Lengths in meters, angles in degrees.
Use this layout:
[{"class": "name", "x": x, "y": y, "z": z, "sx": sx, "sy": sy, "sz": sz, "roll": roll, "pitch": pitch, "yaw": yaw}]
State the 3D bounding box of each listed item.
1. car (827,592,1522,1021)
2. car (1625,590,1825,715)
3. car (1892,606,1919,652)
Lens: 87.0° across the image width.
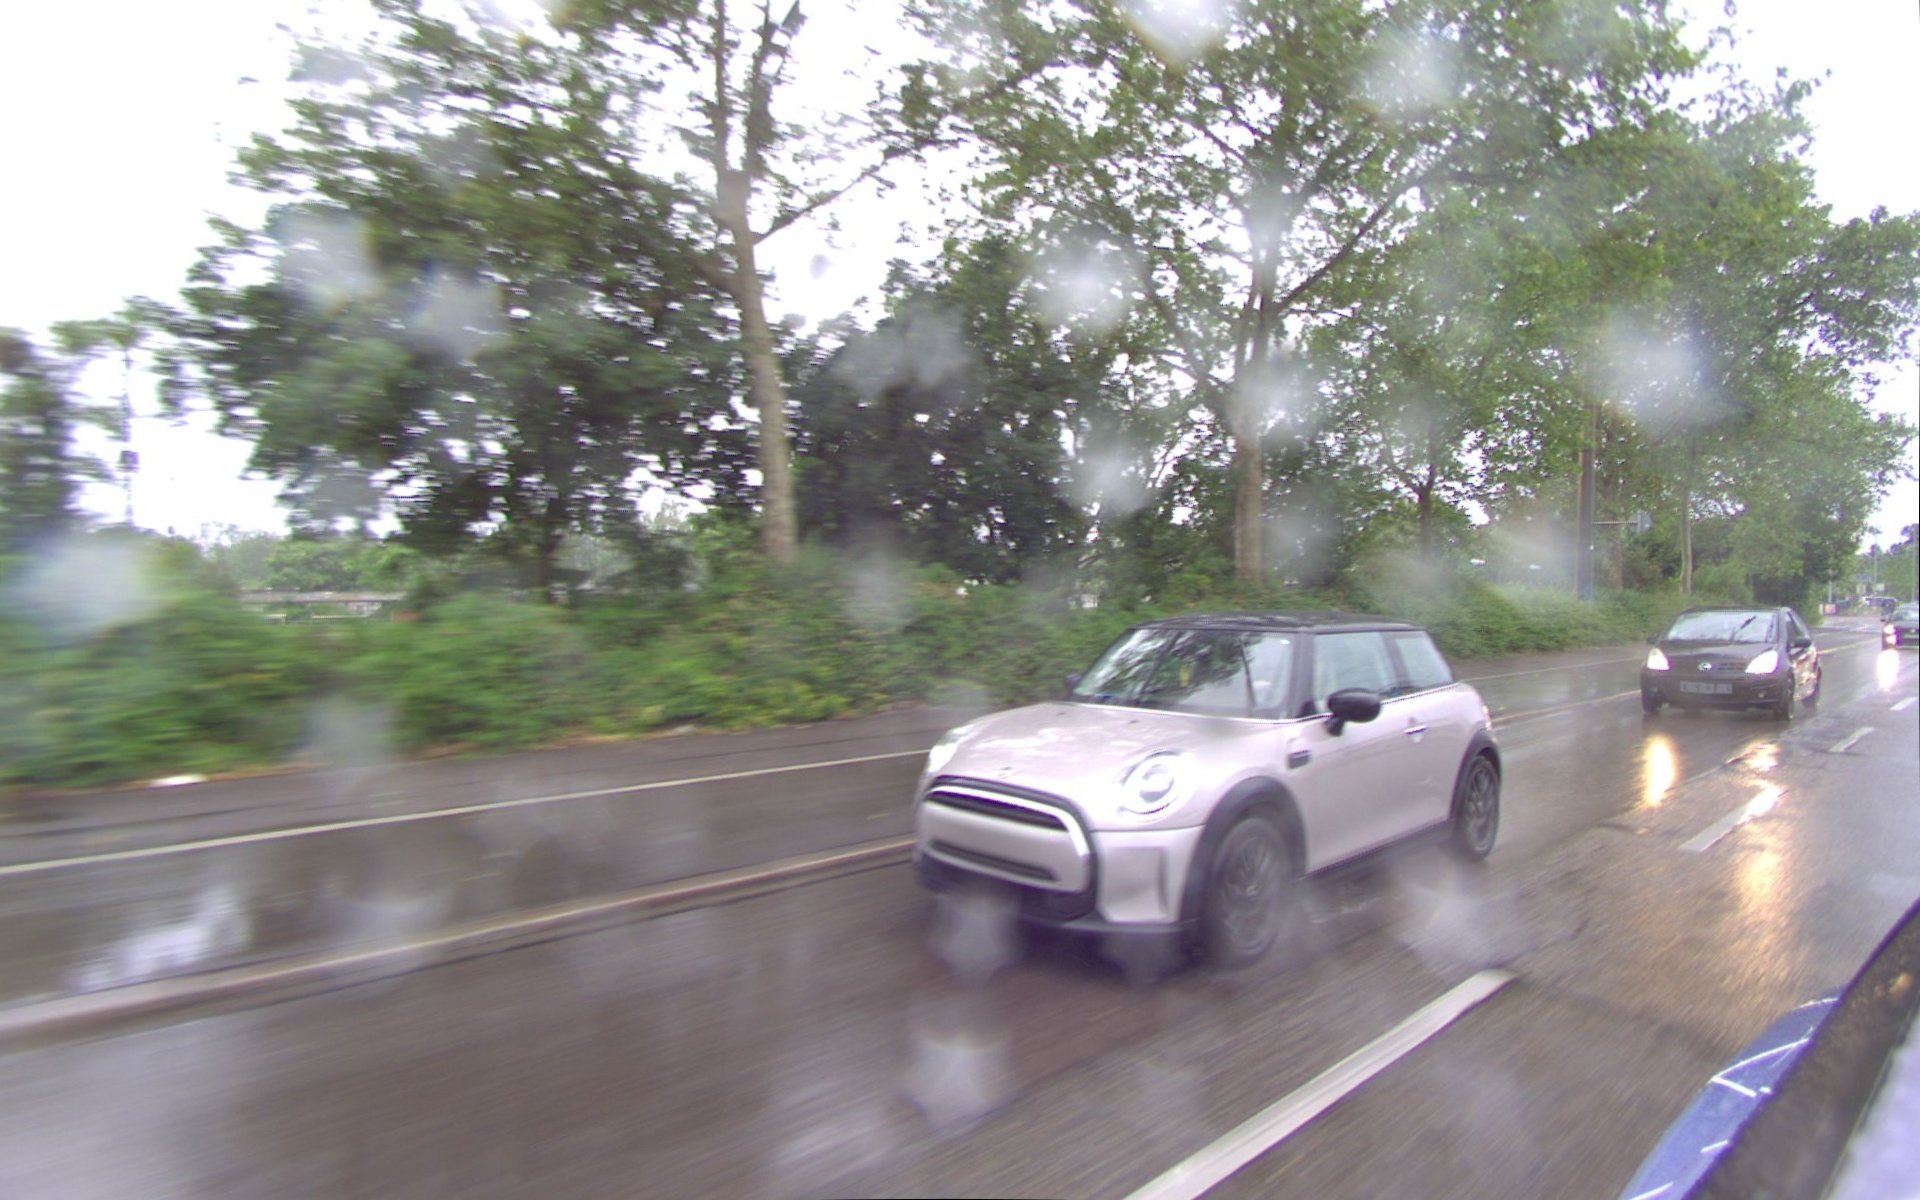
[{"class": "car", "x": 1.363, "y": 0.696, "z": 5.435, "sx": 3.789, "sy": 1.431, "sz": 1.793, "roll": -1, "pitch": 1, "yaw": -42}, {"class": "car", "x": 10.705, "y": 0.661, "z": 14.049, "sx": 1.771, "sy": 1.480, "sz": 4.027, "roll": -1, "pitch": -2, "yaw": 43}, {"class": "car", "x": 33.014, "y": 0.967, "z": 34.295, "sx": 3.972, "sy": 1.504, "sz": 1.714, "roll": 1, "pitch": -2, "yaw": -41}]
